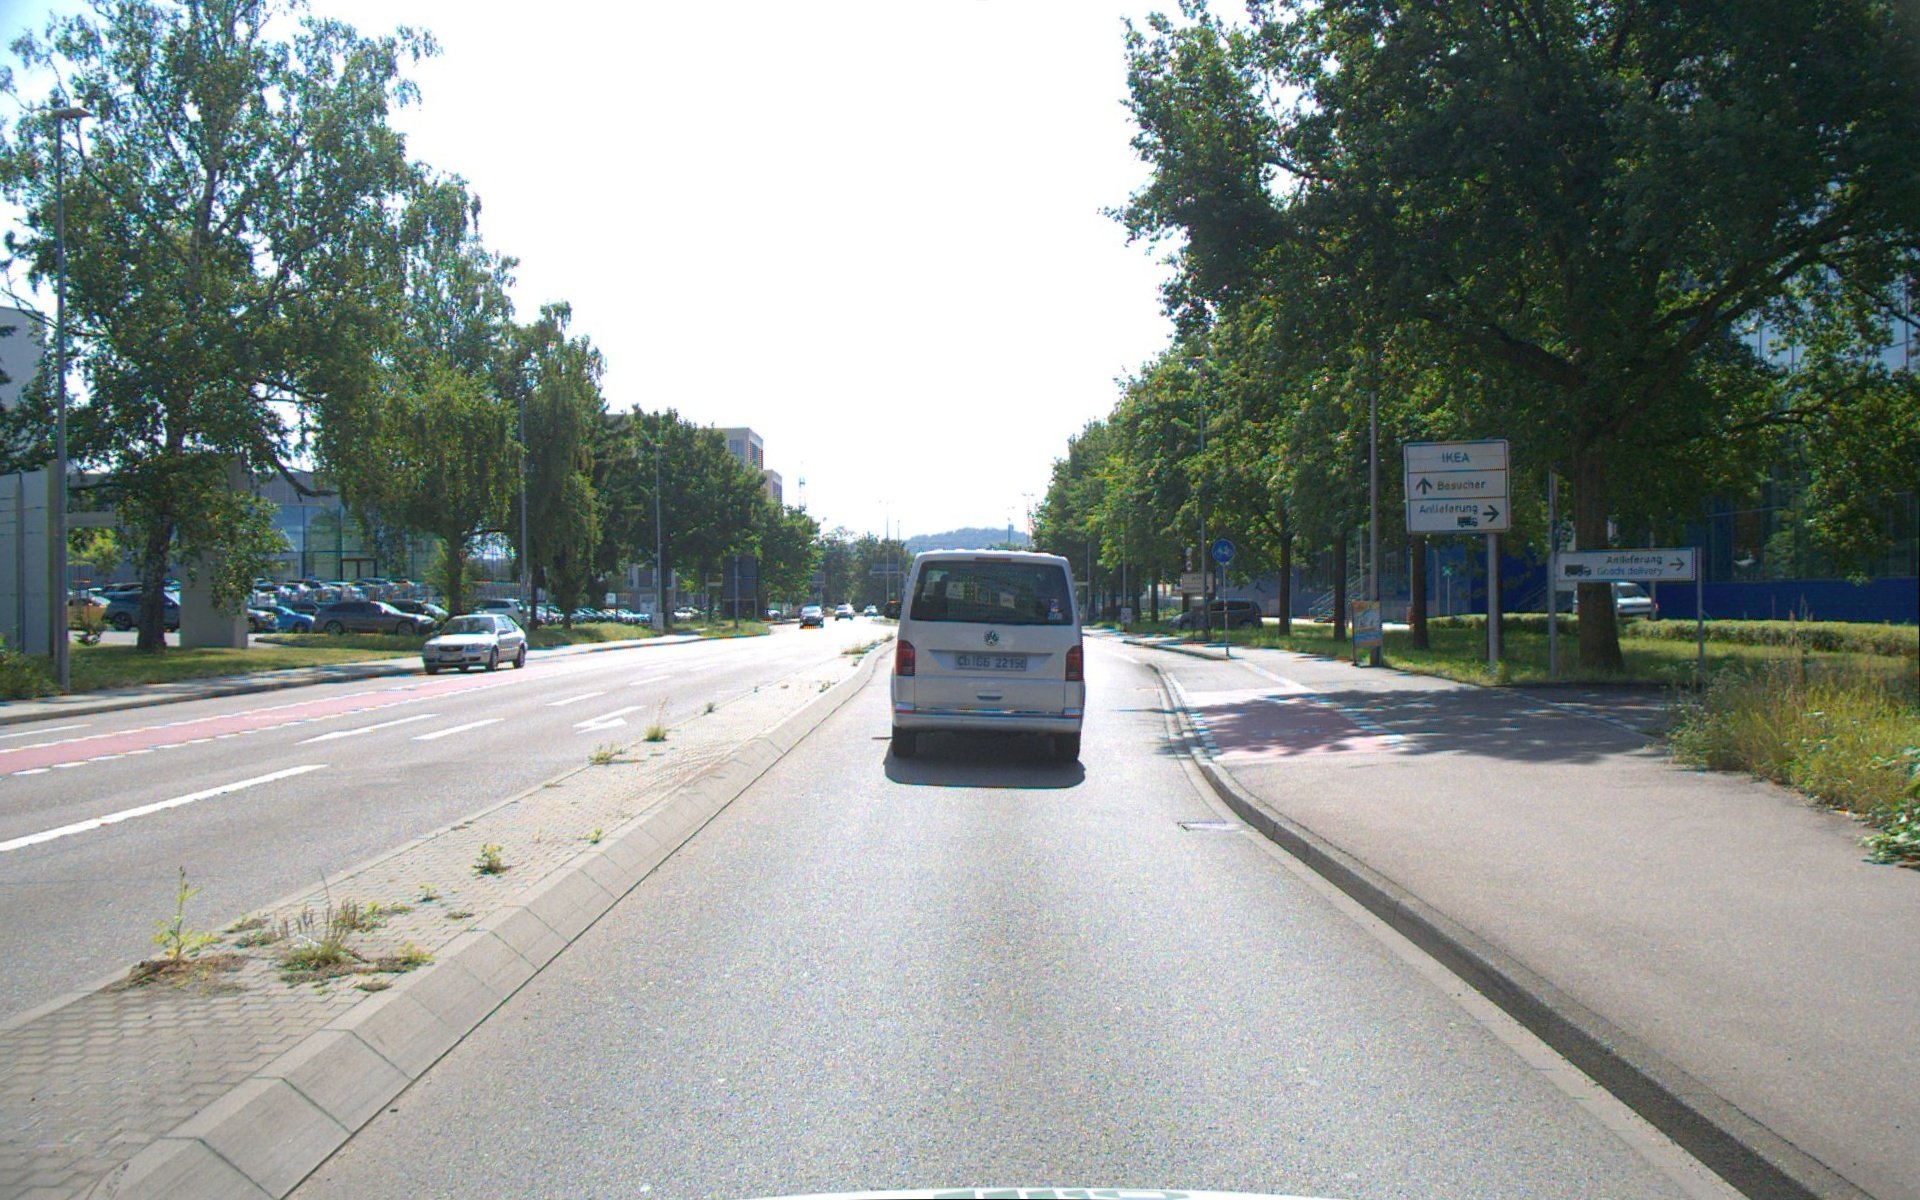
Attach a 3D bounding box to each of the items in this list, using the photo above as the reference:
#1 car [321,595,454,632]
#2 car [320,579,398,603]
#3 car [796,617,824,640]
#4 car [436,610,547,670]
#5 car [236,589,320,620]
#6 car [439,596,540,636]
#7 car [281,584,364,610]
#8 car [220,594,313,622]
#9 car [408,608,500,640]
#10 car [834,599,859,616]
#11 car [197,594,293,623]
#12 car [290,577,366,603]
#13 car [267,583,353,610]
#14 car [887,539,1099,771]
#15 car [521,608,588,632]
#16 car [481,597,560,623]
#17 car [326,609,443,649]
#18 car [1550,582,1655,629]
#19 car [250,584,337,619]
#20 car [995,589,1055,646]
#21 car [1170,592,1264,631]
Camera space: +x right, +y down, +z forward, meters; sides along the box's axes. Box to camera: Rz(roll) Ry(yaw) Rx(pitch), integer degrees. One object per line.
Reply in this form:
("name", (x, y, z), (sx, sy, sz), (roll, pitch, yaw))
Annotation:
("car", (-22.914, 0.541, 66.318), (4.591, 1.414, 2.000), (1, 0, -1))
("car", (-39.888, -0.605, 109.803), (4.427, 1.522, 1.986), (1, 0, -1))
("car", (-10.814, 2.071, 119.646), (1.663, 1.545, 4.026), (-2, 0, -1))
("car", (-11.962, 0.994, 42.456), (1.602, 1.412, 4.318), (-2, 0, 0))
("car", (-39.655, 0.269, 96.282), (4.183, 1.735, 1.664), (-1, 0, -3))
("car", (-23.326, 0.790, 82.140), (4.371, 1.908, 2.000), (1, 0, 0))
("car", (-39.830, -0.176, 103.338), (4.409, 1.511, 1.979), (-1, 0, -3))
("car", (-39.246, 0.433, 93.619), (4.409, 1.511, 1.979), (-1, 0, -3))
("car", (-22.965, 1.092, 75.124), (3.605, 1.395, 1.816), (1, 0, -1))
("car", (-11.729, 0.769, 171.257), (1.952, 1.646, 4.106), (-2, 0, 3))
("car", (-39.198, 0.460, 90.779), (4.409, 1.511, 1.979), (-1, 0, -3))
("car", (-39.581, -0.624, 103.641), (3.906, 1.522, 2.051), (1, 0, -1))
("car", (-39.754, -0.218, 101.227), (4.409, 1.578, 1.979), (-1, 0, -3))
("car", (0.280, 0.493, 16.628), (1.846, 2.025, 3.999), (1, 0, -1))
("car", (-24.079, 1.182, 98.256), (3.522, 1.307, 1.864), (-2, 0, -3))
("car", (-22.964, 0.532, 86.495), (3.715, 1.308, 1.744), (1, 0, -3))
("car", (-23.748, 1.170, 68.347), (4.128, 1.573, 2.000), (1, 0, -1))
("car", (24.025, 0.198, 62.033), (1.816, 1.668, 4.296), (1, 0, -8))
("car", (-39.692, 0.090, 98.583), (4.409, 1.996, 1.979), (-1, 0, -3))
("car", (2.394, 0.644, 62.444), (1.928, 2.002, 5.124), (1, 0, -1))
("car", (12.287, 0.556, 79.304), (4.350, 1.723, 1.845), (-2, -1, 6))
